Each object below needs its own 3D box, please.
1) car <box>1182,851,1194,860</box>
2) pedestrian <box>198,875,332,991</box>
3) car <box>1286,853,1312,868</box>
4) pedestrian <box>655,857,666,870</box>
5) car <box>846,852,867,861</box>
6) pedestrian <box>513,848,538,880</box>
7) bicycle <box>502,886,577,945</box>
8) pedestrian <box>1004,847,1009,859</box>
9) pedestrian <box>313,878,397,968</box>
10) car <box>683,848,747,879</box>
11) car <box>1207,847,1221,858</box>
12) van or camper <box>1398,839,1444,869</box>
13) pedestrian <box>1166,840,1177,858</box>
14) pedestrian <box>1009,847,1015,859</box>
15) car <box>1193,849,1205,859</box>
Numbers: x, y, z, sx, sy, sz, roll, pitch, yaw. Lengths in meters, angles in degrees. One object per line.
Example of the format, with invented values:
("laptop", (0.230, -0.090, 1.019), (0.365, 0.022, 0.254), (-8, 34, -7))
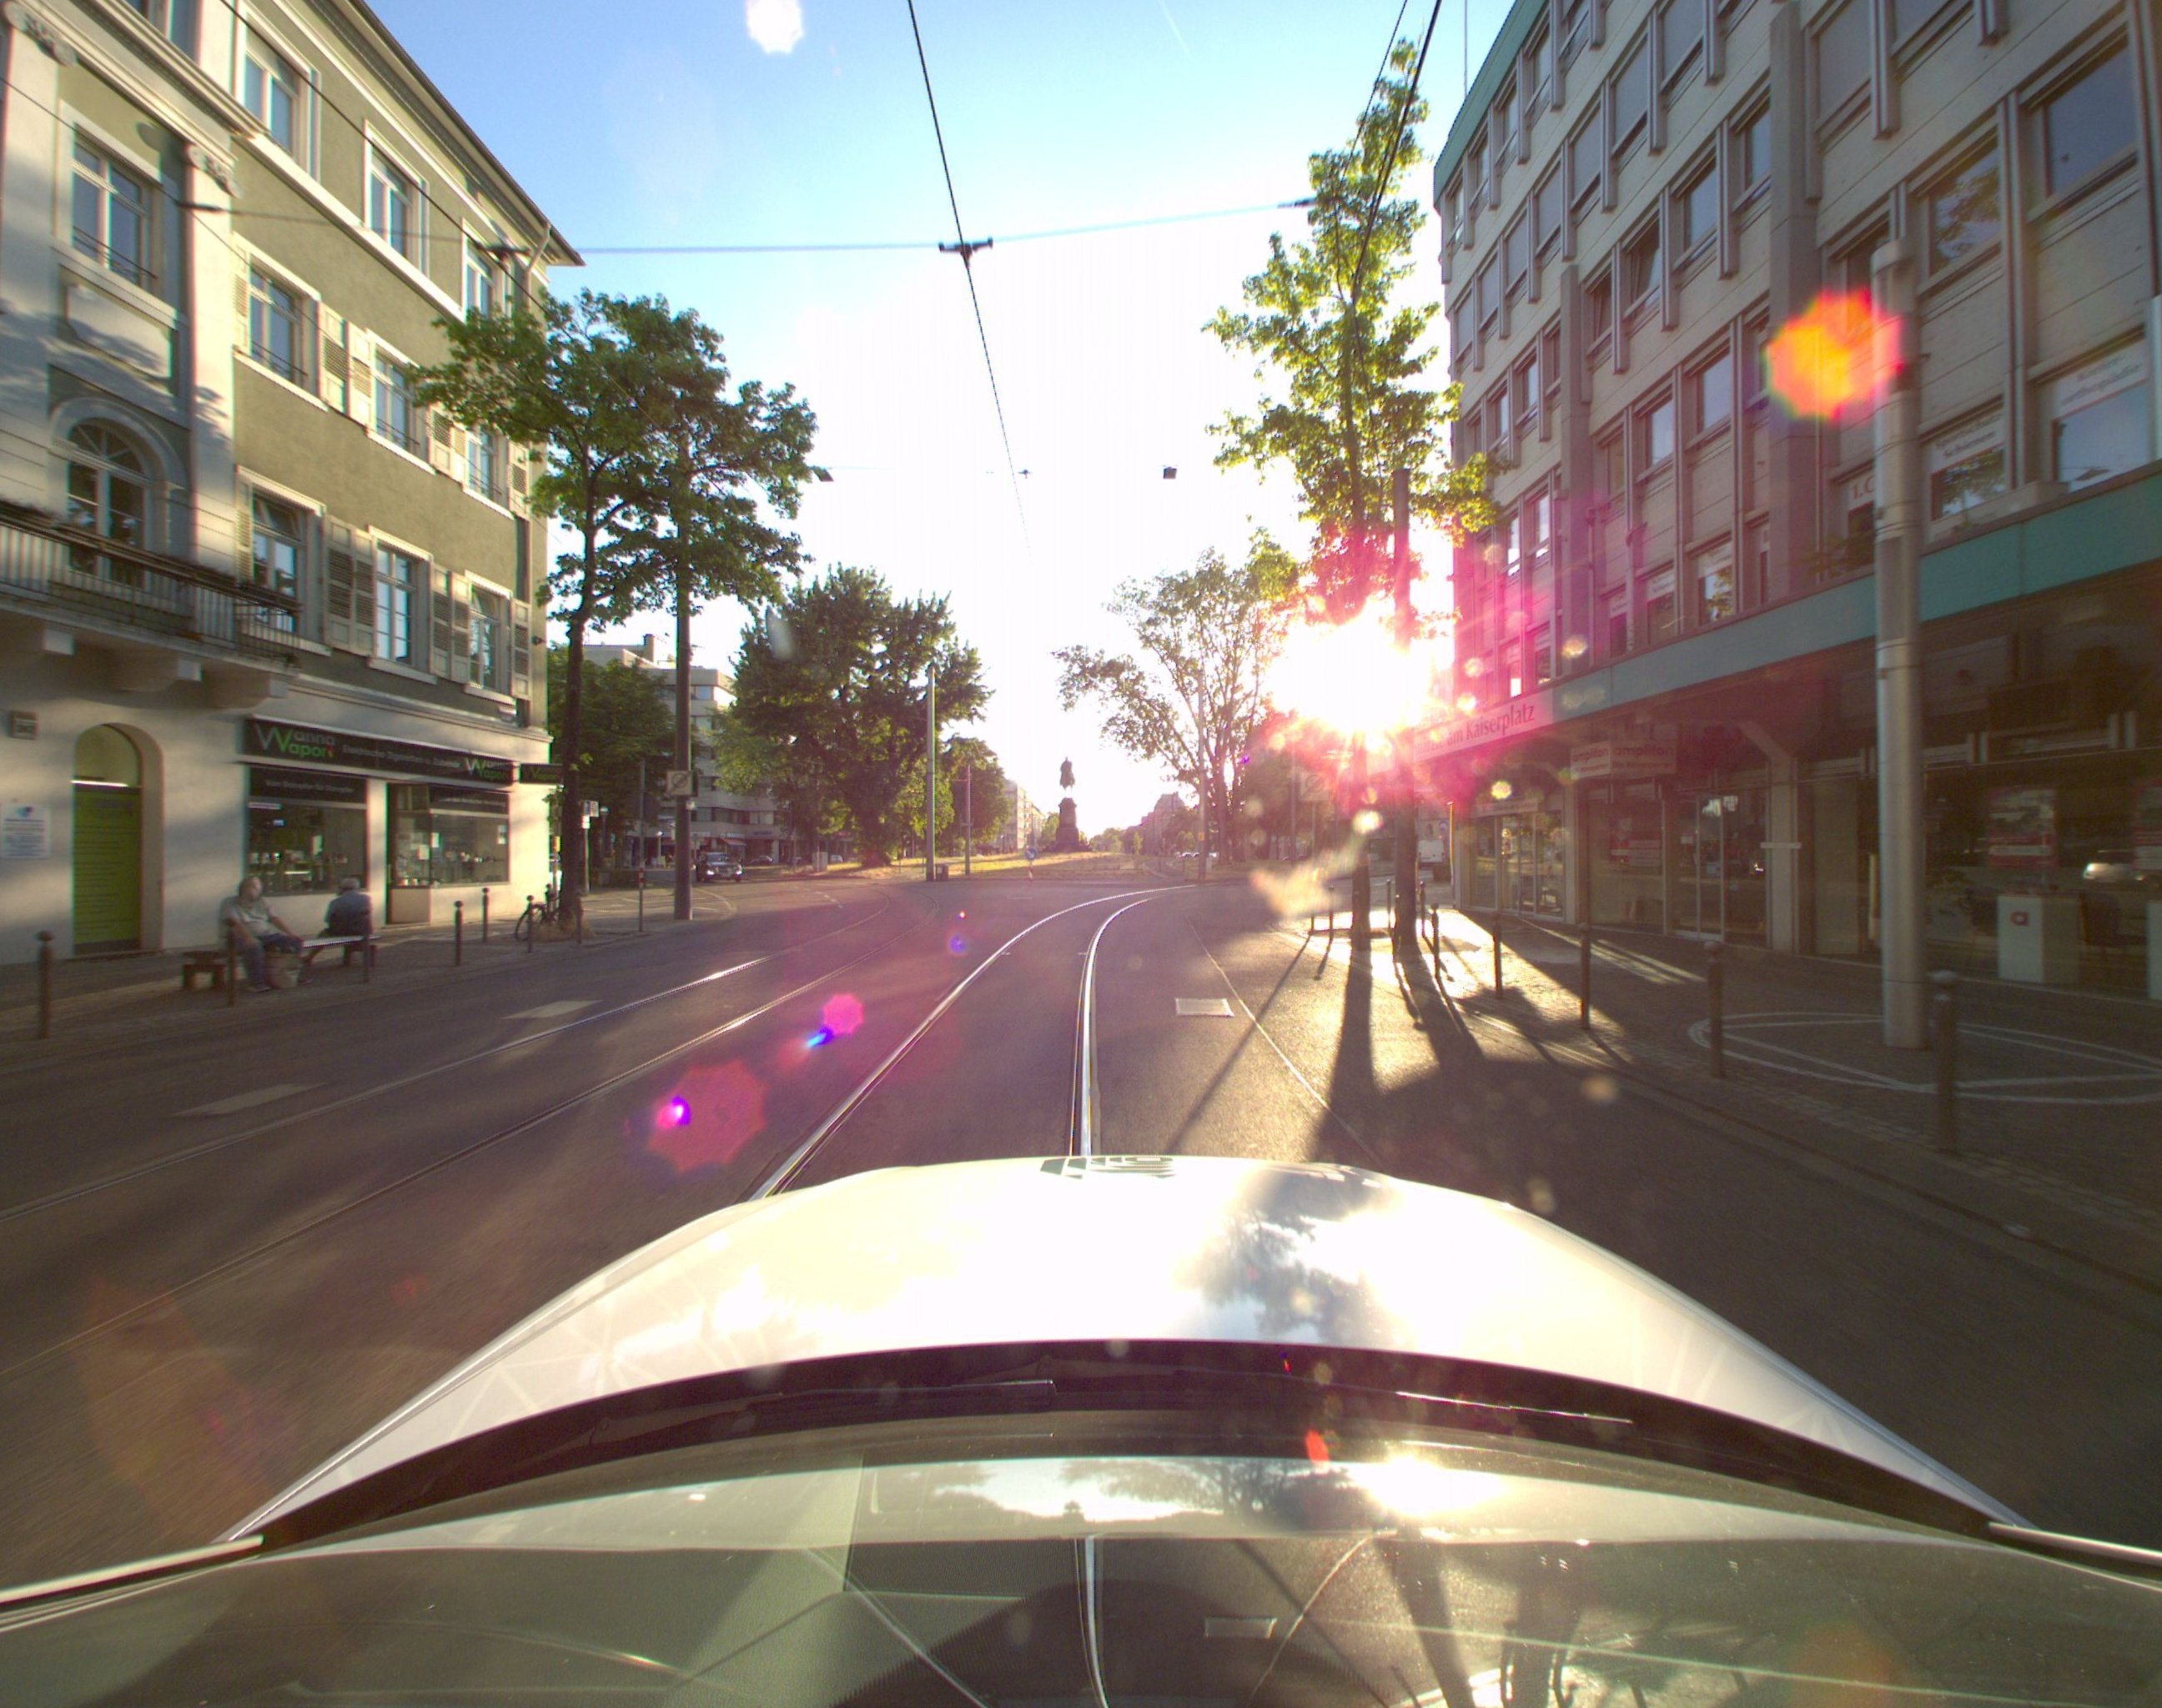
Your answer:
("car", (23.641, 0.330, 179.934), (2.131, 2.013, 4.000), (0, 0, 0))
("pedestrian", (-9.679, 0.907, 9.698), (0.726, 1.290, 0.856), (0, 0, -2))
("car", (29.904, 0.874, 111.902), (1.993, 1.969, 3.987), (-1, 0, -10))
("pedestrian", (-48.173, 1.098, 93.256), (0.736, 1.503, 0.776), (-1, 0, 24))
("car", (-34.244, 0.366, 124.169), (1.869, 1.420, 3.928), (-1, 0, 3))
("pedestrian", (-24.721, 0.445, 36.238), (0.762, 1.410, 0.750), (-1, 0, 42))
("bicycle", (-9.946, 1.104, 14.999), (0.335, 0.946, 1.510), (-1, 0, 1))
("pedestrian", (-10.405, -0.143, 113.929), (0.768, 1.606, 0.637), (-1, 0, -7))
("pedestrian", (-10.083, 0.936, 11.335), (0.590, 1.194, 0.641), (0, 0, -2))
("car", (-20.501, 0.499, 45.518), (1.981, 1.676, 4.306), (0, 0, -43))
("car", (25.044, -0.328, 153.442), (2.131, 2.013, 4.000), (0, 0, 0))
("van or camper", (29.725, 0.003, 71.398), (2.590, 2.472, 6.341), (-1, 0, 12))
("pedestrian", (8.391, -0.449, 75.412), (0.776, 1.606, 0.630), (-1, 0, -43))
("pedestrian", (-9.561, -0.150, 113.384), (0.768, 1.606, 0.637), (-1, 0, -7))
("car", (24.434, -0.070, 168.770), (2.131, 2.013, 4.000), (0, 0, 0))
